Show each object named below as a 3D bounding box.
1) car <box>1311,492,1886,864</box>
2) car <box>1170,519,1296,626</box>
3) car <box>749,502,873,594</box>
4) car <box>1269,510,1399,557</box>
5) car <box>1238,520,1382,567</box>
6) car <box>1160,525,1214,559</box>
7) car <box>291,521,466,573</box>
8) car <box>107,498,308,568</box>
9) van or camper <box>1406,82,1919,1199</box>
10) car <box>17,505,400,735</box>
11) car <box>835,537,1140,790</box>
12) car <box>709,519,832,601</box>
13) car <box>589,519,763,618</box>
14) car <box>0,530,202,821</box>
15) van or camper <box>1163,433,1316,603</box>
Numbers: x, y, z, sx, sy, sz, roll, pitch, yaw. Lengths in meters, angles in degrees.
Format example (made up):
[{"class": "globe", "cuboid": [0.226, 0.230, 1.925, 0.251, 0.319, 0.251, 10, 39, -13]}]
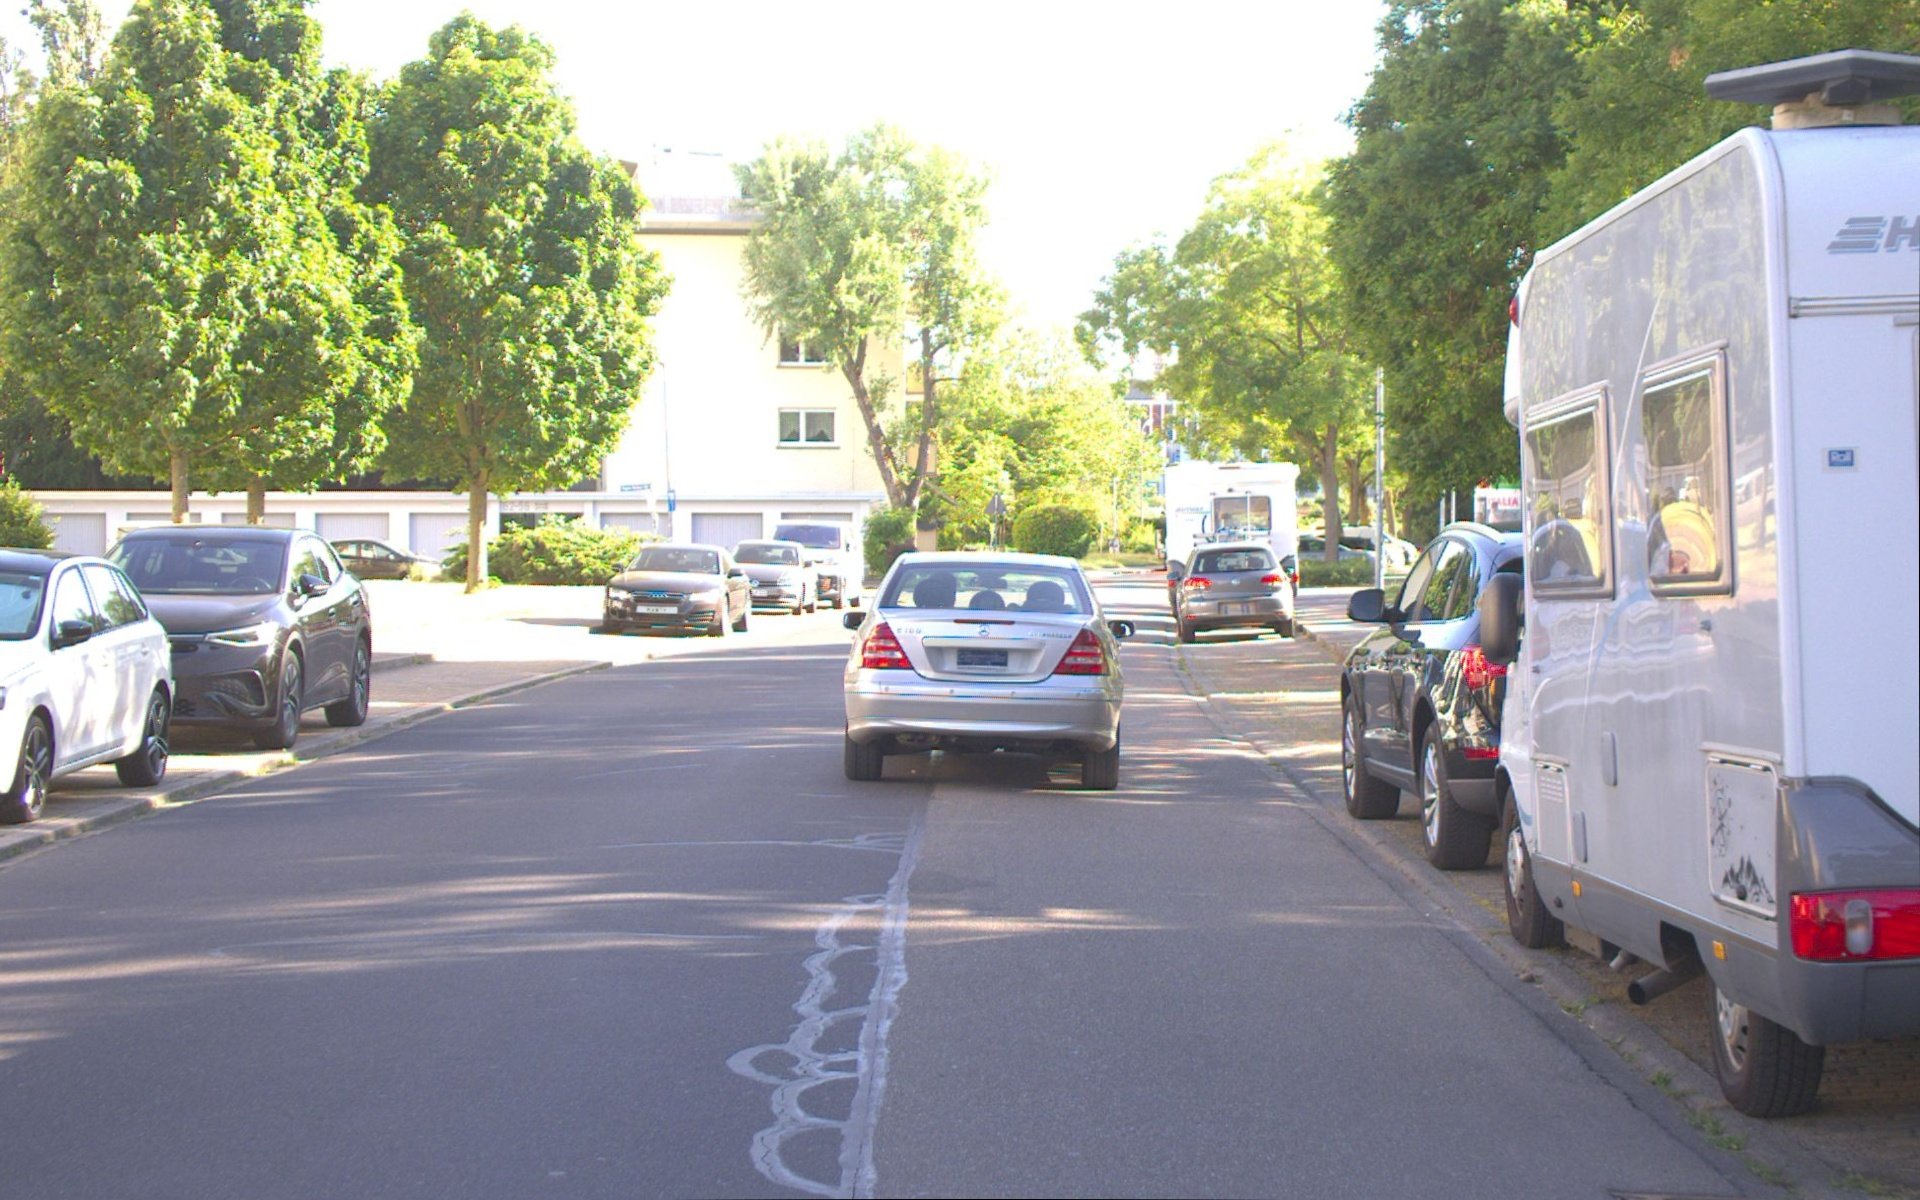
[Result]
[{"class": "car", "cuboid": [3.144, 0.296, 17.919, 1.993, 1.635, 4.537, -2, 1, -2]}, {"class": "car", "cuboid": [4.256, -0.463, 54.112, 1.720, 1.519, 4.428, -3, 1, 2]}, {"class": "car", "cuboid": [-3.181, -1.131, 74.484, 2.014, 1.879, 5.190, 2, 1, 5]}, {"class": "car", "cuboid": [14.482, -2.564, 133.111, 4.886, 1.717, 1.999, -1, 1, 10]}, {"class": "car", "cuboid": [11.806, -1.915, 115.793, 4.783, 1.543, 2.011, 0, 1, 7]}, {"class": "car", "cuboid": [10.506, -2.684, 158.953, 1.914, 1.485, 3.835, -2, 1, 12]}, {"class": "car", "cuboid": [-16.404, -1.501, 97.120, 4.444, 1.455, 2.042, 0, 1, 11]}, {"class": "car", "cuboid": [-21.464, -1.905, 98.131, 5.108, 1.944, 2.236, 0, 1, 12]}, {"class": "van or camper", "cuboid": [3.086, -0.019, 11.116, 2.351, 2.587, 6.426, -3, 1, 0]}, {"class": "car", "cuboid": [-5.646, 0.096, 26.446, 1.914, 1.598, 4.812, 0, 1, 0]}, {"class": "car", "cuboid": [0.167, 0.351, 21.721, 1.733, 1.429, 3.438, 2, 1, 0]}, {"class": "car", "cuboid": [-3.717, -0.806, 68.015, 1.833, 1.513, 4.221, 2, 1, 4]}, {"class": "car", "cuboid": [-4.456, -0.538, 54.749, 2.035, 1.487, 5.256, 0, 1, 3]}, {"class": "car", "cuboid": [-5.745, 0.347, 19.933, 1.646, 1.461, 4.331, 1, 1, 1]}, {"class": "van or camper", "cuboid": [4.896, -1.459, 61.177, 2.496, 2.835, 6.851, 0, 1, 3]}]
